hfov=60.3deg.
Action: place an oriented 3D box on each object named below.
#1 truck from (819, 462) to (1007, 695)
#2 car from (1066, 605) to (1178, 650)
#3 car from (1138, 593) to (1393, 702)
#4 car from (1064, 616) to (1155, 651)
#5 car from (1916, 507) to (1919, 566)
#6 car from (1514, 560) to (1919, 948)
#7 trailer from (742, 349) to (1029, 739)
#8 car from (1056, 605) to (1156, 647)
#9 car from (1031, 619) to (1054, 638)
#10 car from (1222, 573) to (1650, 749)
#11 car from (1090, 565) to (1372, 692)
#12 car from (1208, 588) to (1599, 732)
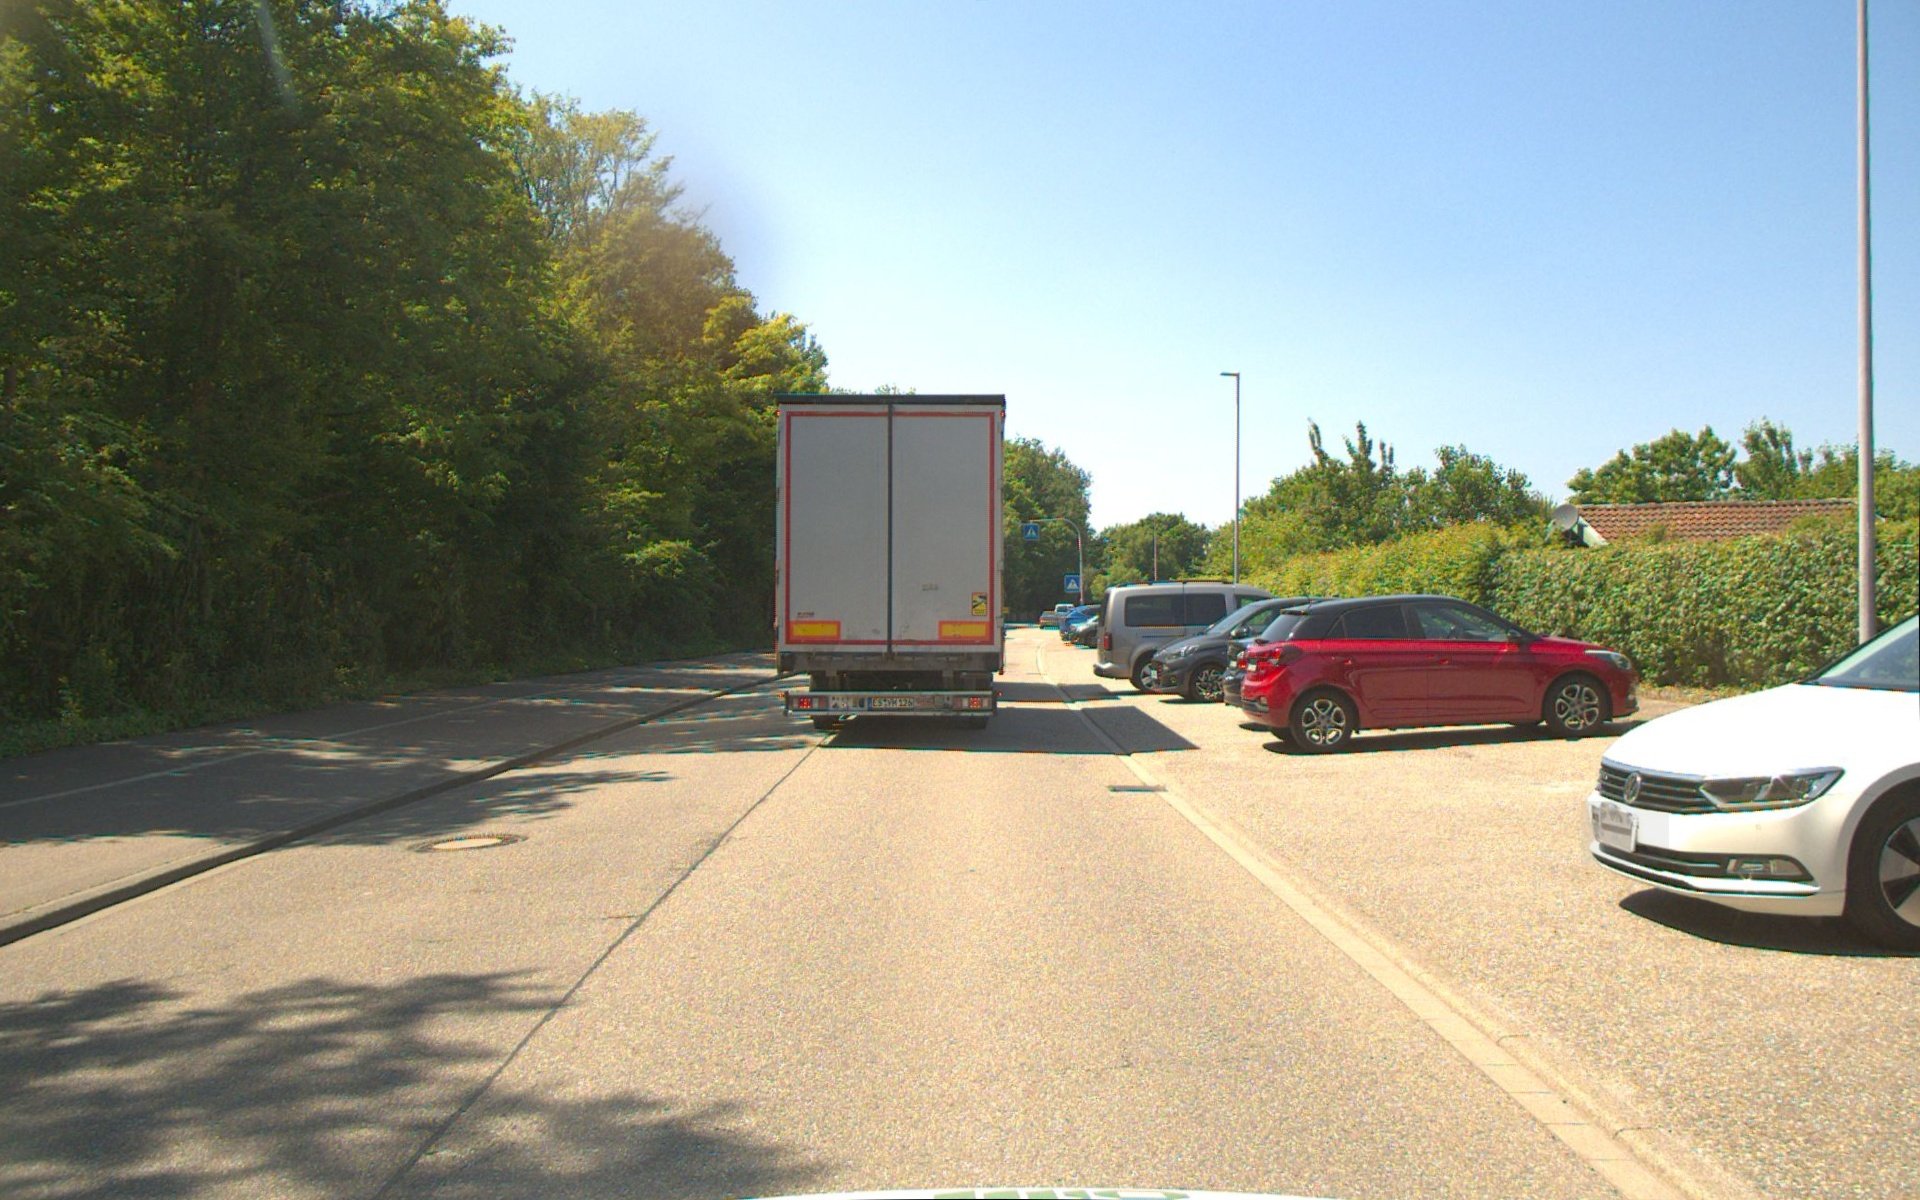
[{"bbox_3d":[-0.714,-0.326,30.292,3.049,3.790,6.414,0,0,1],"label":"truck"},{"bbox_3d":[6.074,1.058,62.349,4.077,1.522,1.883,-2,-2,2],"label":"car"},{"bbox_3d":[4.681,0.714,25.646,3.505,1.528,1.840,-1,-1,-5],"label":"car"},{"bbox_3d":[6.183,1.374,68.518,3.656,1.290,1.628,-2,-2,4],"label":"car"},{"bbox_3d":[5.507,0.330,5.198,3.969,1.575,1.756,-3,-1,-4],"label":"car"},{"bbox_3d":[5.139,0.509,7.590,4.468,1.464,1.960,-3,-1,-4],"label":"car"},{"bbox_3d":[-0.777,-0.563,23.527,3.049,4.174,11.536,0,0,0],"label":"trailer"},{"bbox_3d":[6.267,1.136,71.408,4.150,1.662,1.823,-2,-2,2],"label":"car"},{"bbox_3d":[6.615,2.300,133.401,1.744,1.512,4.001,1,-1,2],"label":"car"},{"bbox_3d":[4.814,0.612,17.141,3.839,1.504,1.845,-3,-1,0],"label":"car"},{"bbox_3d":[4.622,0.493,28.784,4.526,1.880,1.996,-3,-1,1],"label":"car"},{"bbox_3d":[5.209,0.694,19.803,4.118,1.412,1.840,-3,-1,-1],"label":"car"}]
